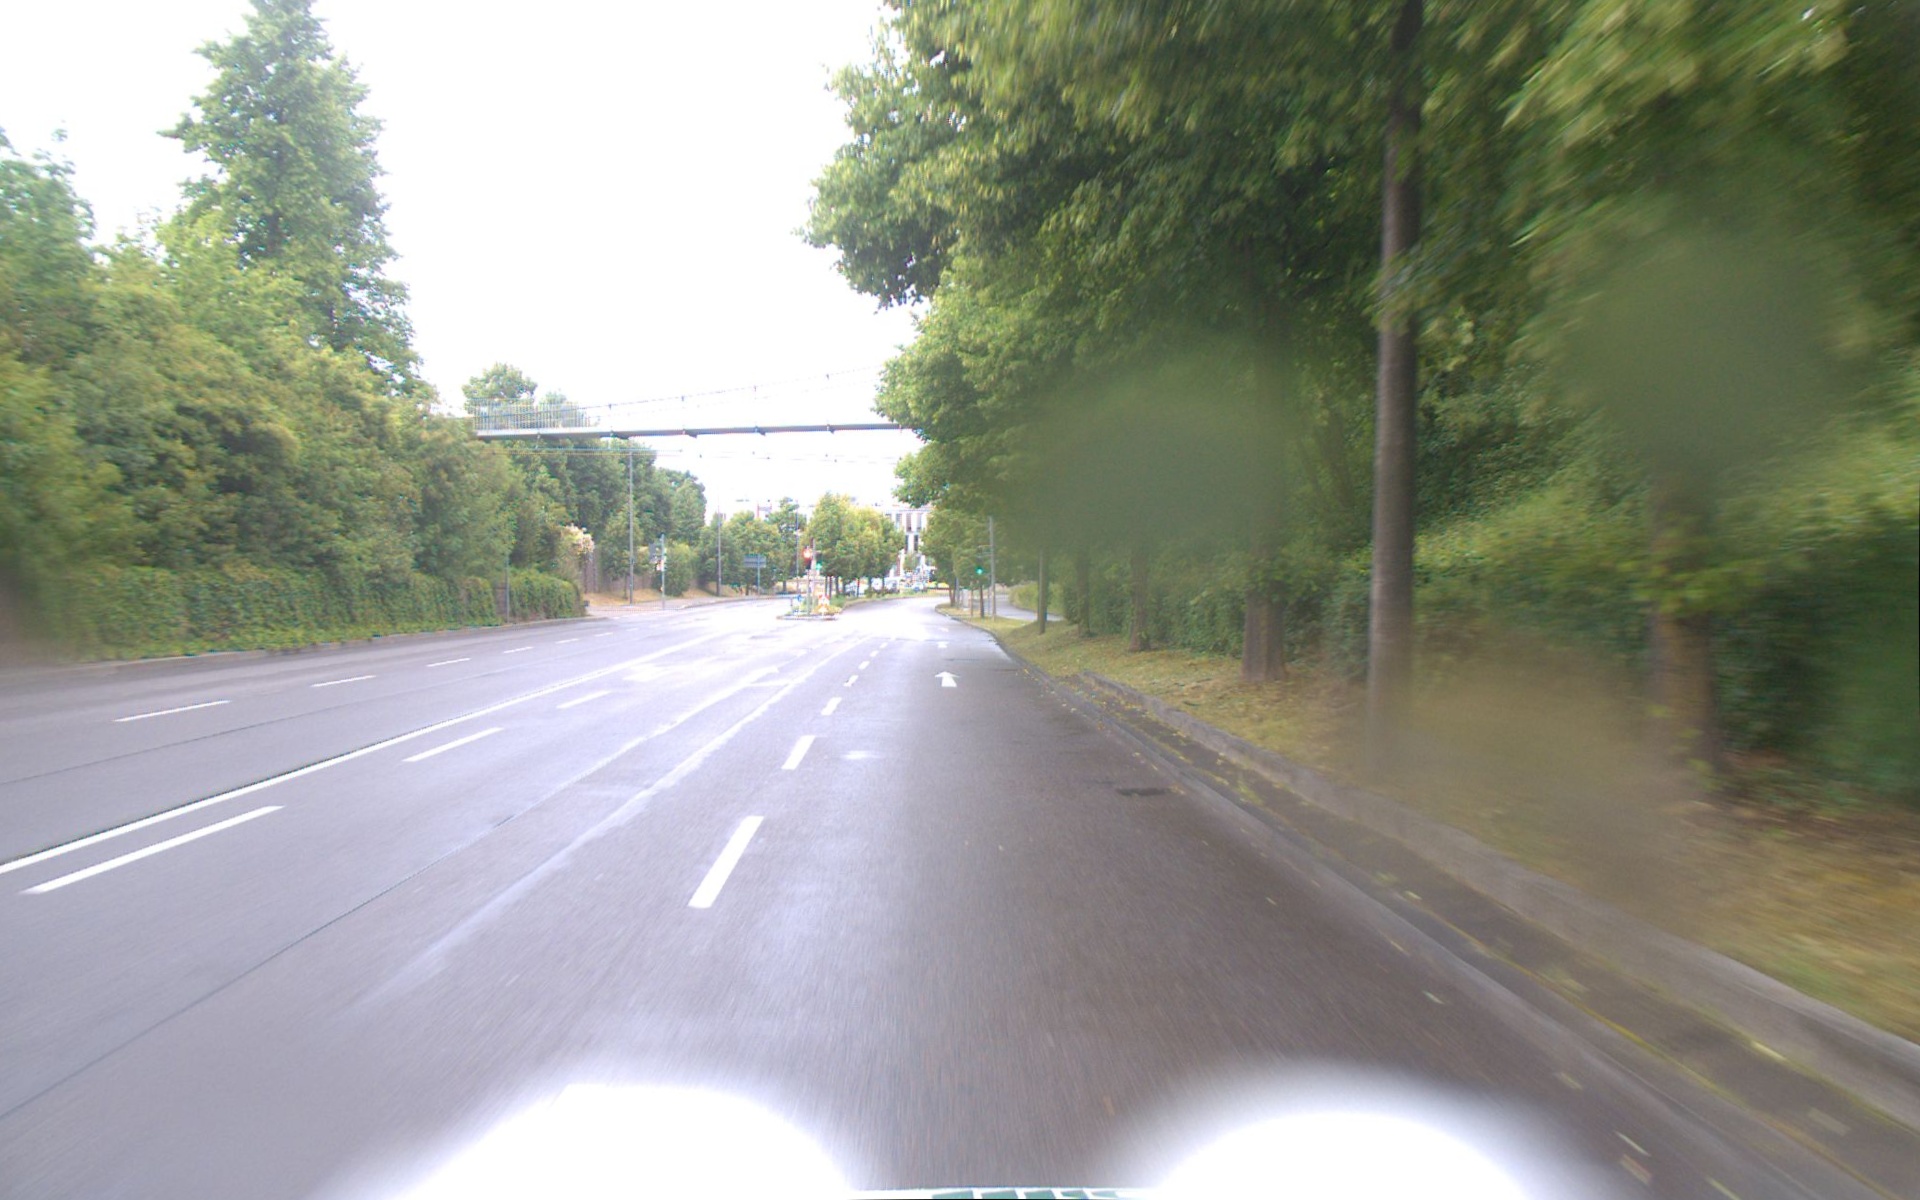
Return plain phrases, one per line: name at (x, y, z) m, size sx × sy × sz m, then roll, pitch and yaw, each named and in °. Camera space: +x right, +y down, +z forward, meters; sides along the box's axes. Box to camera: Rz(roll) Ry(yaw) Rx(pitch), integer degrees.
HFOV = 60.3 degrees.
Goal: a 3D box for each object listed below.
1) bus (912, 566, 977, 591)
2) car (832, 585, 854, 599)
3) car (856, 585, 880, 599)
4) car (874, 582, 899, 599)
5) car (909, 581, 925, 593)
bus at (-2.269, -3.404, 260.431) m, size 2.729 × 3.416 × 18.215 m, roll 1°, pitch 0°, yaw 24°
car at (-12.933, -0.855, 183.157) m, size 1.564 × 1.515 × 4.003 m, roll 1°, pitch 0°, yaw 8°
car at (-11.022, -0.944, 198.168) m, size 1.841 × 1.623 × 4.770 m, roll 2°, pitch 0°, yaw 8°
car at (-8.573, -1.072, 192.984) m, size 1.971 × 1.952 × 5.099 m, roll 1°, pitch 0°, yaw 7°
car at (-5.725, -1.740, 220.122) m, size 1.650 × 1.566 × 2.919 m, roll 2°, pitch 1°, yaw 8°
